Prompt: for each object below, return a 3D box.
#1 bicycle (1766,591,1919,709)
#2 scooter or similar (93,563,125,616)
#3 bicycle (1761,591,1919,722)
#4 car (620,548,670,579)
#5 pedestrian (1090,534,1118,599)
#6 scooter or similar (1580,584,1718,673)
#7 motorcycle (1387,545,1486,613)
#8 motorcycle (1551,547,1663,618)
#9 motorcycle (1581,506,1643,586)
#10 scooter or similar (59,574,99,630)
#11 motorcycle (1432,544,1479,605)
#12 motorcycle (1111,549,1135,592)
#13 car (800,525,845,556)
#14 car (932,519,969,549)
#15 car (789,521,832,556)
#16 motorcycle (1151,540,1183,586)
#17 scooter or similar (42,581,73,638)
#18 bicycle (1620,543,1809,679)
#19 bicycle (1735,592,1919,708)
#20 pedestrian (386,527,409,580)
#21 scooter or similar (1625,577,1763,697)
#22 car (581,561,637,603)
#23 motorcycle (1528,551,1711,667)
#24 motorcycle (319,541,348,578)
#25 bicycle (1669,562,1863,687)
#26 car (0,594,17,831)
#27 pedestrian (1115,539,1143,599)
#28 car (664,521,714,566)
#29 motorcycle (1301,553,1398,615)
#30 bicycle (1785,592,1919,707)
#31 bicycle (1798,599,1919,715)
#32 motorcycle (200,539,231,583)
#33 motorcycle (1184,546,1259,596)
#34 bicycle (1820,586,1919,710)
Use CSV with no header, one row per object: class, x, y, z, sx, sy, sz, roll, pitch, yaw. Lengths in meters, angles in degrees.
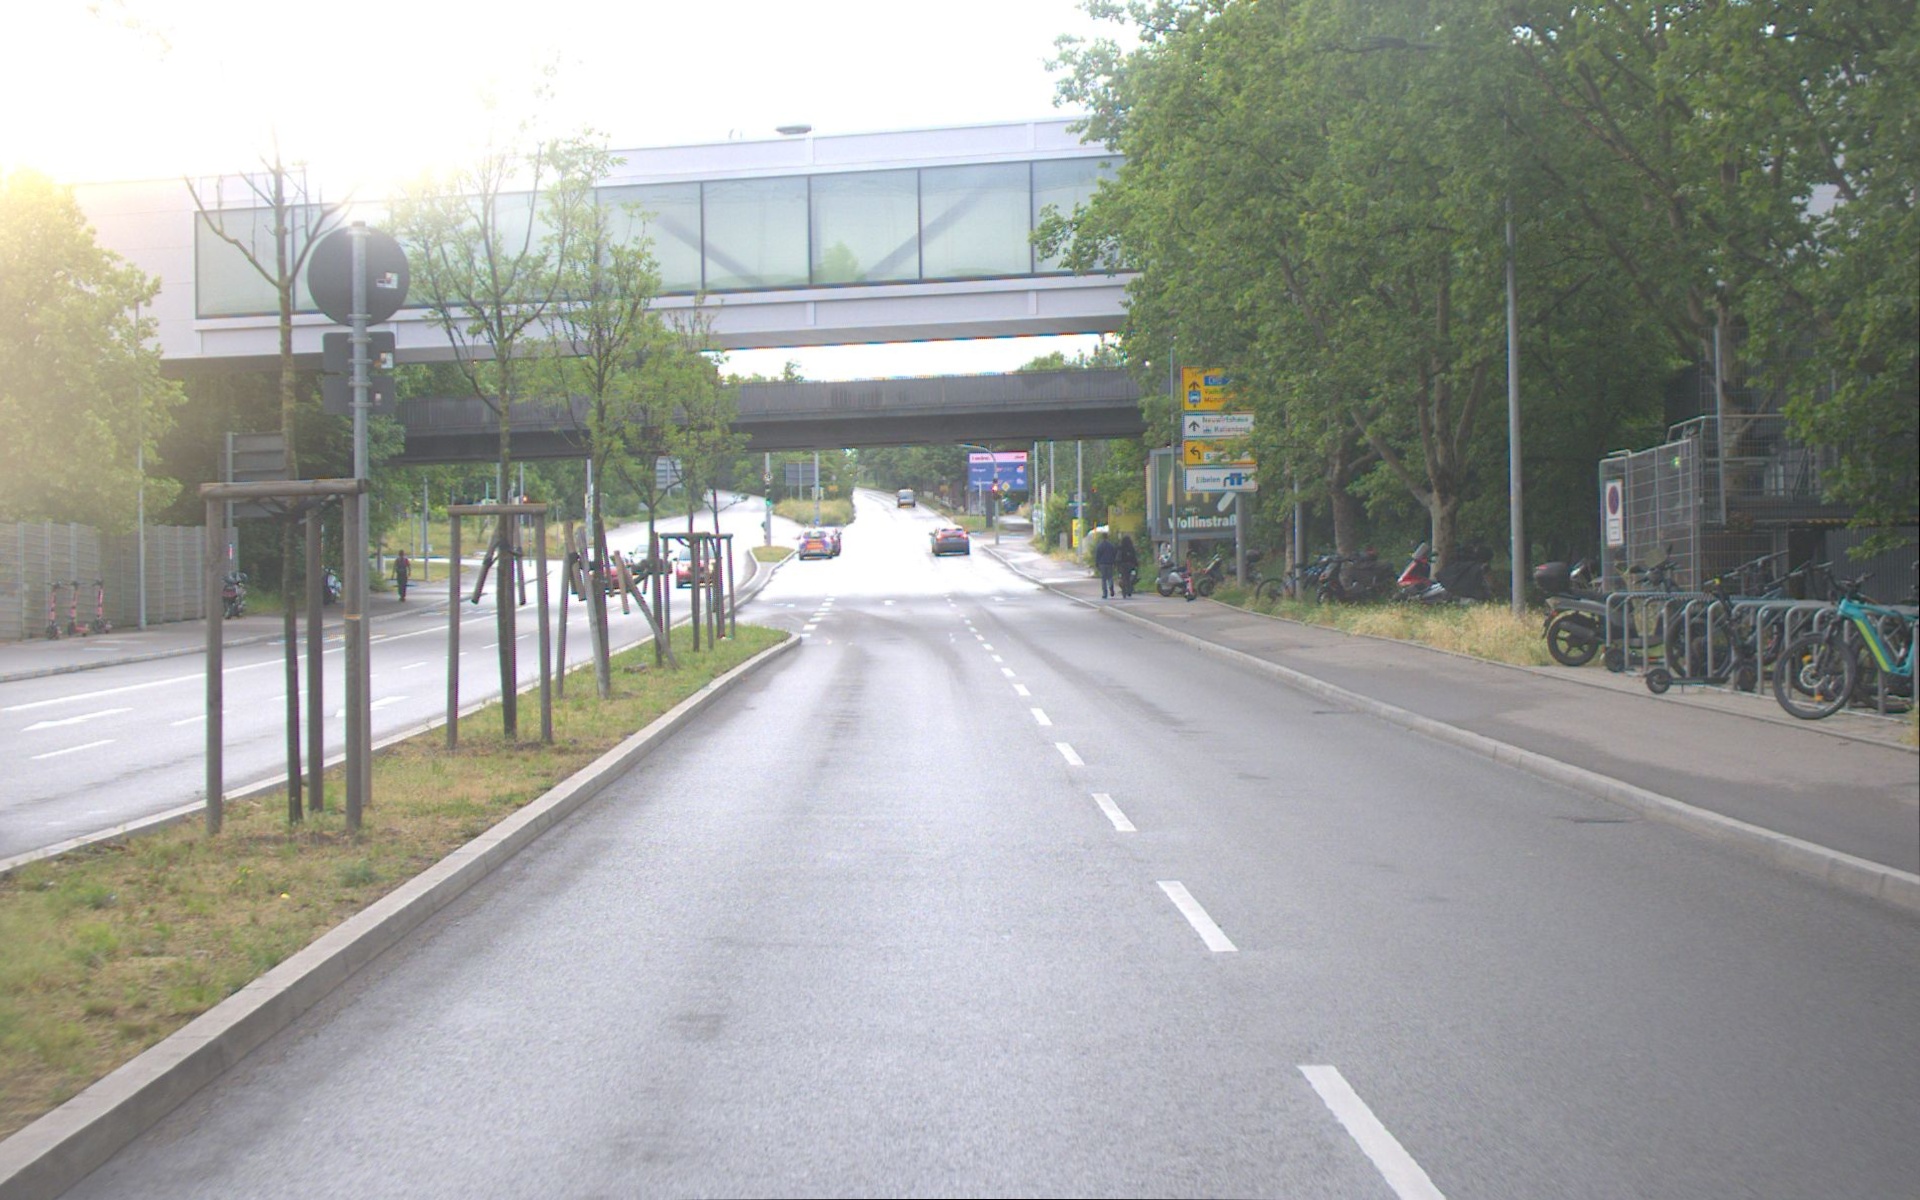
bicycle,8.010,0.440,30.585,1.551,1.001,0.393,-2,0,-1
scooter or similar,-19.837,-0.256,80.155,0.311,1.214,1.308,-1,1,4
bicycle,7.263,0.449,27.589,1.551,1.001,0.393,-2,0,-1
car,-14.576,-1.702,159.136,2.063,1.357,4.757,-2,1,-3
pedestrian,3.891,-0.912,92.938,0.611,1.715,0.891,-1,1,9
scooter or similar,7.591,0.310,37.853,1.472,0.933,0.366,-2,0,-18
motorcycle,8.148,-0.356,58.805,1.653,1.146,0.493,1,0,7
motorcycle,11.666,-0.315,62.021,1.915,1.253,0.491,1,0,5
motorcycle,11.339,-0.927,59.797,0.504,1.360,1.504,1,0,-12
scooter or similar,-19.823,0.038,77.373,0.311,1.214,1.307,-1,1,11
motorcycle,10.630,-0.549,73.743,0.645,1.275,1.991,-1,0,-1
motorcycle,4.399,-0.803,92.757,0.469,1.133,1.819,-2,1,-2
car,-7.405,-3.218,185.475,2.166,1.577,4.664,1,0,0
car,-0.512,-3.369,174.646,1.744,1.465,4.167,0,2,-2
car,-7.624,-3.111,175.096,2.076,1.712,4.199,1,0,-3
motorcycle,5.615,-1.005,93.217,0.469,1.209,1.945,-2,1,-7
scooter or similar,-19.747,0.209,75.235,0.311,1.214,1.308,-1,1,-1
bicycle,7.816,0.106,35.609,1.857,1.343,0.448,-2,0,-13
bicycle,7.913,0.451,31.404,1.551,1.001,0.393,-2,0,-1
pedestrian,-19.153,-1.579,117.088,0.520,1.809,0.799,0,1,9
scooter or similar,6.936,0.346,32.510,1.212,1.087,0.312,-2,0,-5
car,-12.731,-0.661,124.929,1.715,1.432,3.772,-3,0,-2
motorcycle,7.528,0.105,39.258,2.009,1.269,0.441,-2,1,12
motorcycle,-20.338,-1.332,111.640,0.468,1.154,1.932,-1,1,2
bicycle,7.929,0.237,33.825,1.788,1.163,0.448,-2,1,-7
car,-6.454,0.702,18.610,1.577,1.399,4.111,-2,0,-1
pedestrian,4.558,-0.844,92.683,0.651,1.590,0.578,-1,1,11
car,-10.251,-2.132,130.055,1.585,1.600,3.856,-3,0,-1
motorcycle,7.795,-0.325,68.846,1.848,1.187,0.522,-2,1,-16
bicycle,8.018,0.419,29.942,1.551,0.955,0.393,-2,1,-1
bicycle,8.032,0.479,29.523,1.551,0.955,0.393,-2,1,-1
motorcycle,-20.968,-1.100,96.835,0.468,1.200,1.997,-2,1,-1
motorcycle,7.003,-0.771,92.105,1.942,1.293,0.546,-1,1,34
bicycle,7.990,0.386,28.601,1.551,1.001,0.393,-2,0,-1
